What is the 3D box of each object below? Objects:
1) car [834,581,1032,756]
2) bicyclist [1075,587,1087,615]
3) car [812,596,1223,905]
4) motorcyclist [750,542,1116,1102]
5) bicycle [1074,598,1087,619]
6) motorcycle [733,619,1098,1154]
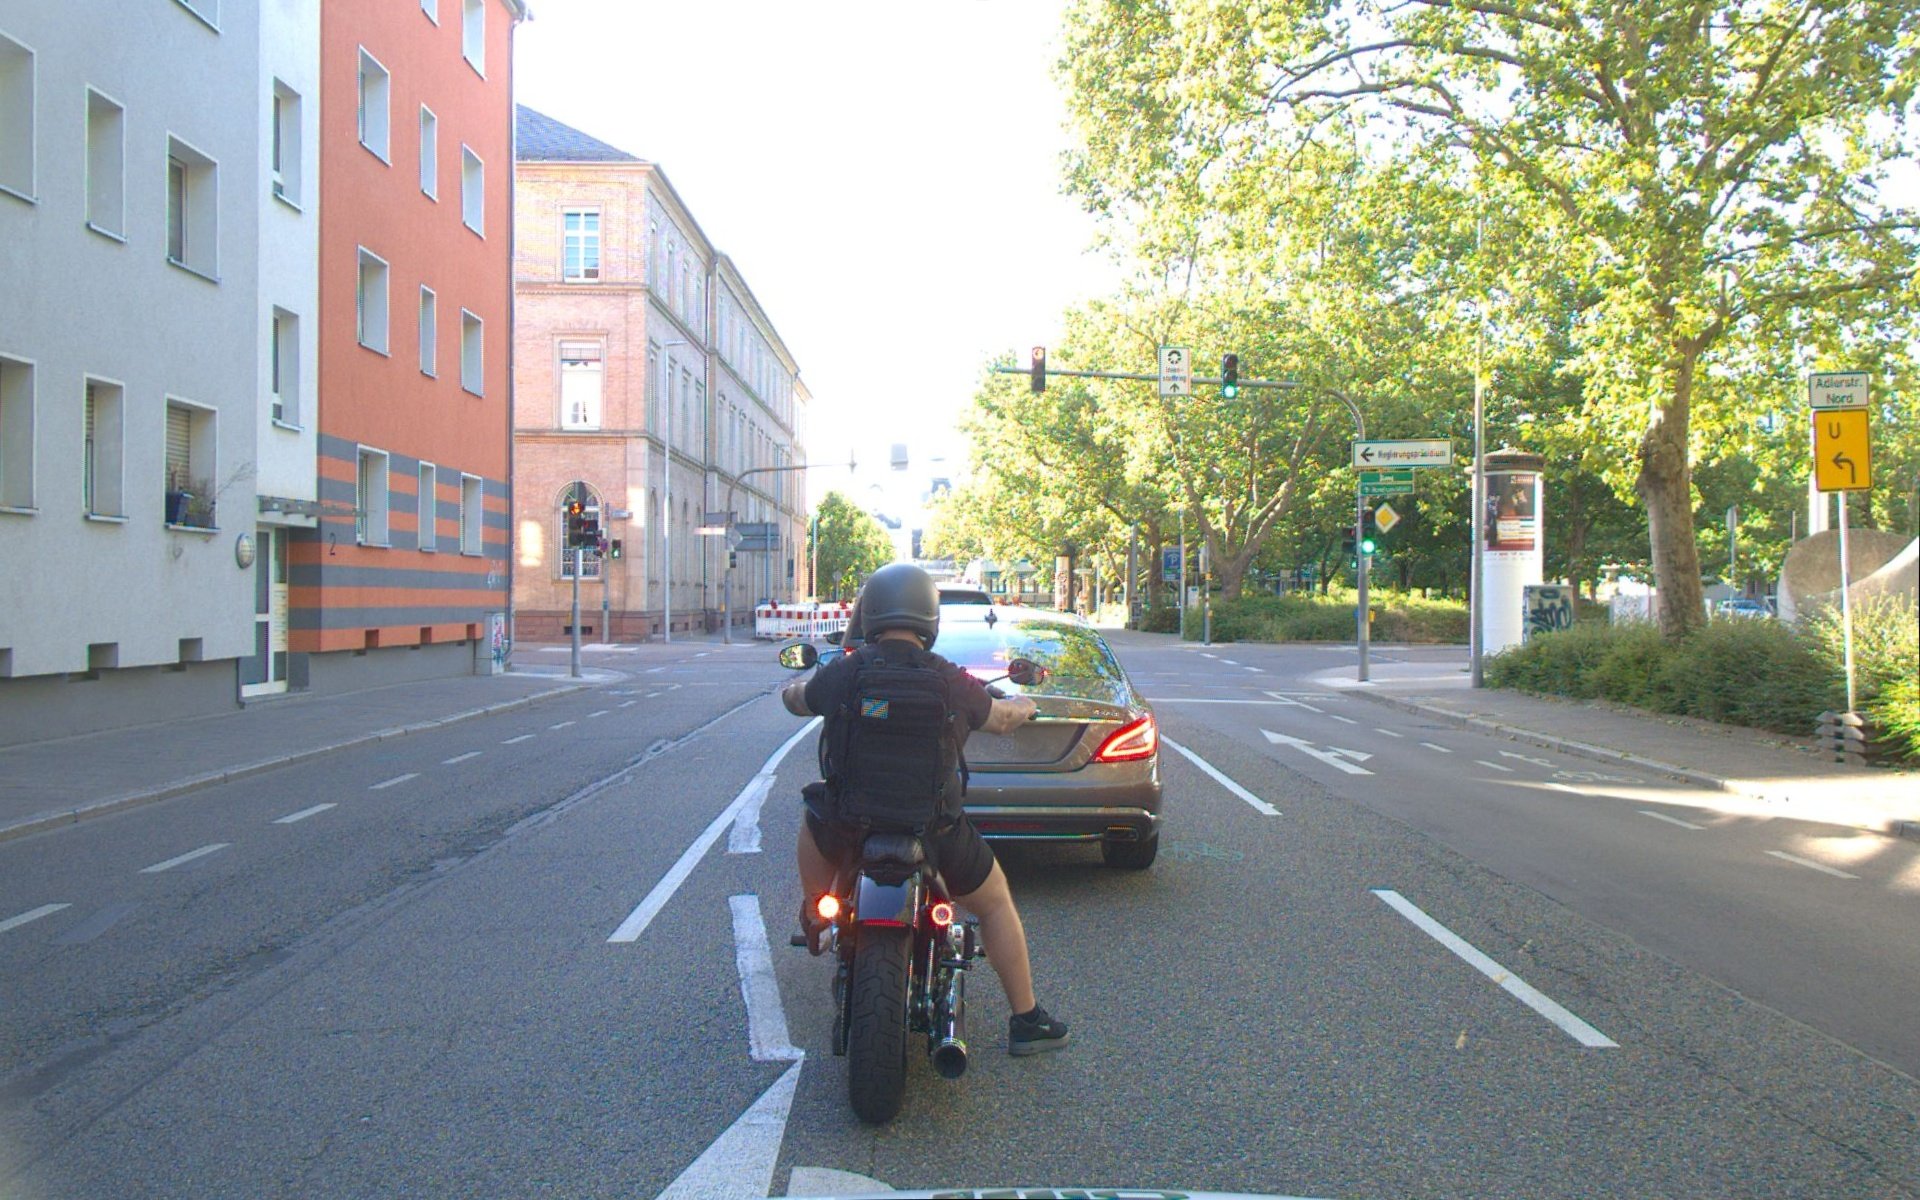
[{"bbox_3d":[-0.347,0.606,16.760,1.777,1.563,3.846,0,0,-3],"label":"car"},{"bbox_3d":[6.996,0.050,95.677,0.701,1.610,0.936,1,0,3],"label":"bicyclist"},{"bbox_3d":[0.107,0.715,10.148,1.866,1.466,4.282,0,0,-7],"label":"car"},{"bbox_3d":[-0.083,0.647,5.261,1.039,1.610,0.908,1,0,-1],"label":"motorcyclist"},{"bbox_3d":[6.980,0.513,95.688,0.701,1.193,2.177,1,0,3],"label":"bicycle"},{"bbox_3d":[-0.133,0.772,5.529,0.942,1.380,2.319,1,0,-1],"label":"motorcycle"}]
